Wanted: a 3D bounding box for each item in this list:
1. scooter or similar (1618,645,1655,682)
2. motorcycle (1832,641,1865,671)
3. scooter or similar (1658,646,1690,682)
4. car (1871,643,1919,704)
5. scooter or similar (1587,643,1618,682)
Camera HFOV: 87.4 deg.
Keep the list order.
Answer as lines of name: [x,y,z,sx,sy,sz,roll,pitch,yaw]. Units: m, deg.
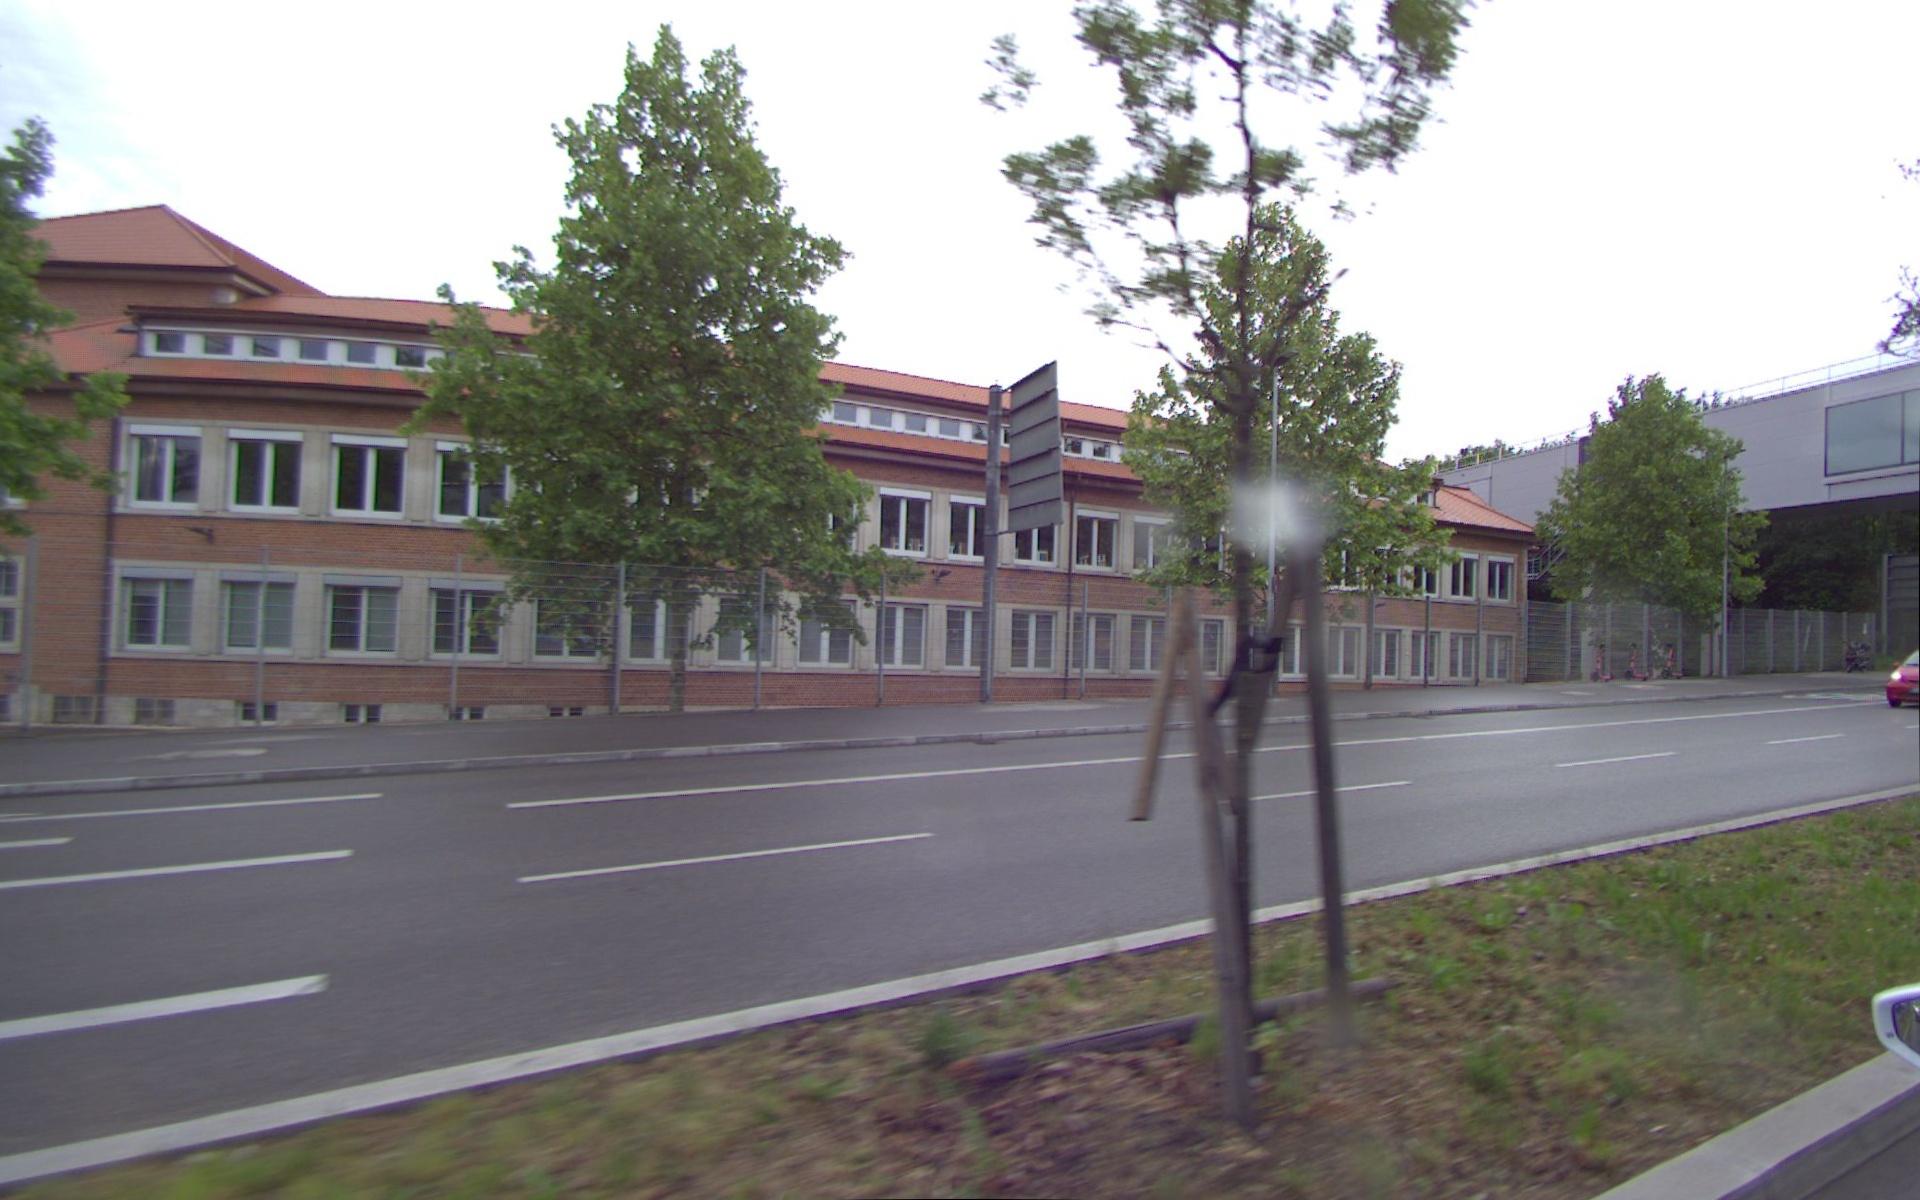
scooter or similar: [22.915,2.149,34.040,1.287,1.234,0.311,0,-2,-19]
motorcycle: [38.020,2.387,42.980,1.973,1.221,0.466,1,-2,-31]
scooter or similar: [25.088,2.230,35.285,1.290,1.234,0.310,1,-2,-26]
car: [24.461,1.798,24.951,3.729,1.456,1.707,2,-4,-32]
scooter or similar: [21.042,2.034,32.886,1.292,1.234,0.310,1,-2,-31]
